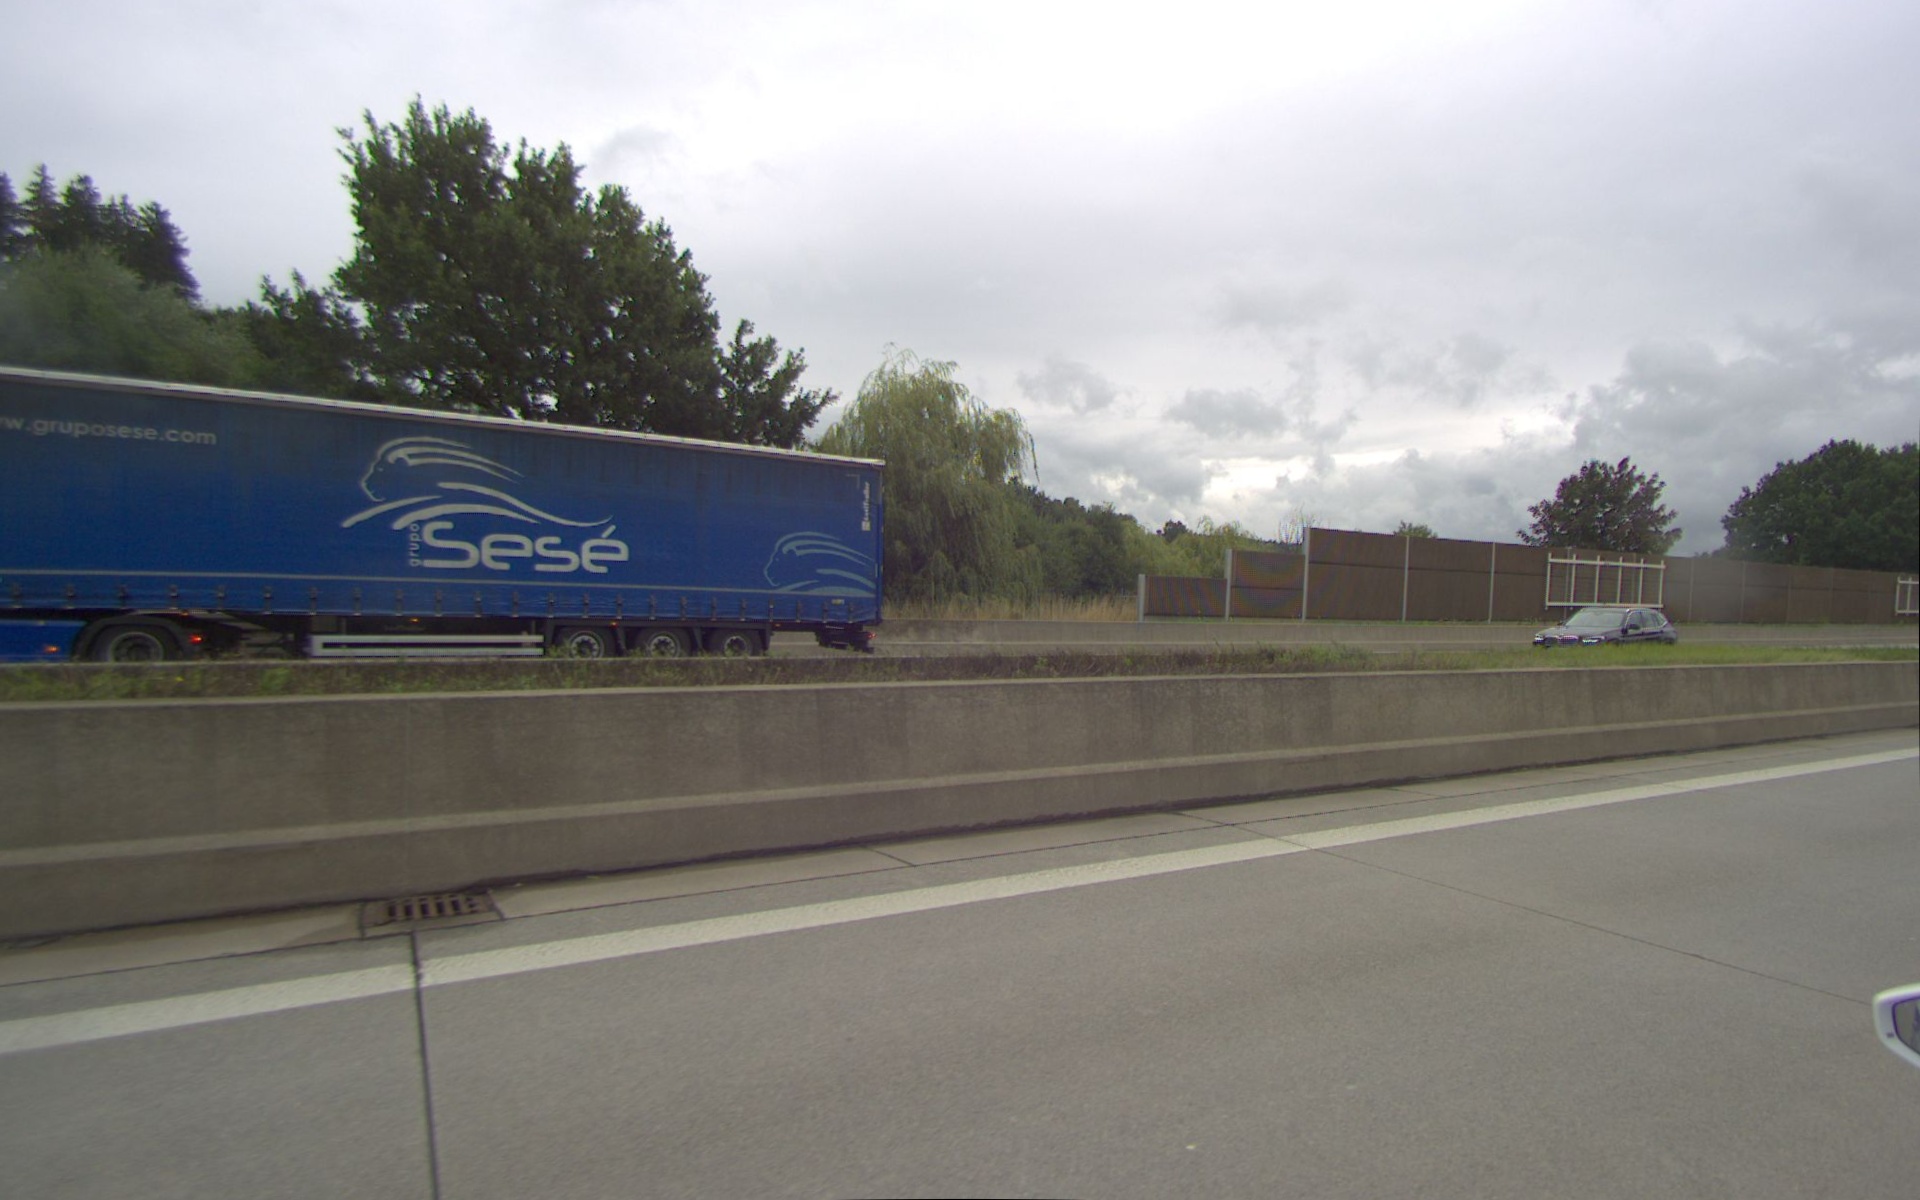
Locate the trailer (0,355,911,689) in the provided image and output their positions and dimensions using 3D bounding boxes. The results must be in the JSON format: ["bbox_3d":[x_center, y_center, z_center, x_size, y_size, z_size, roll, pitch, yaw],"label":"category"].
[{"bbox_3d":[-7.513,-0.908,17.230,13.634,4.265,2.696,1,1,-31],"label":"trailer"}]

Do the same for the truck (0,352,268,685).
[{"bbox_3d":[-13.373,-1.089,13.706,6.139,4.244,2.678,2,1,-30],"label":"truck"}]

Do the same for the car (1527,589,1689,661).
[{"bbox_3d":[17.477,0.678,27.040,4.679,1.790,1.806,2,0,-32],"label":"car"}]

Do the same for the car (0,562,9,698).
[{"bbox_3d":[-12.241,0.280,9.462,4.468,1.520,1.628,2,0,-32],"label":"car"}]
